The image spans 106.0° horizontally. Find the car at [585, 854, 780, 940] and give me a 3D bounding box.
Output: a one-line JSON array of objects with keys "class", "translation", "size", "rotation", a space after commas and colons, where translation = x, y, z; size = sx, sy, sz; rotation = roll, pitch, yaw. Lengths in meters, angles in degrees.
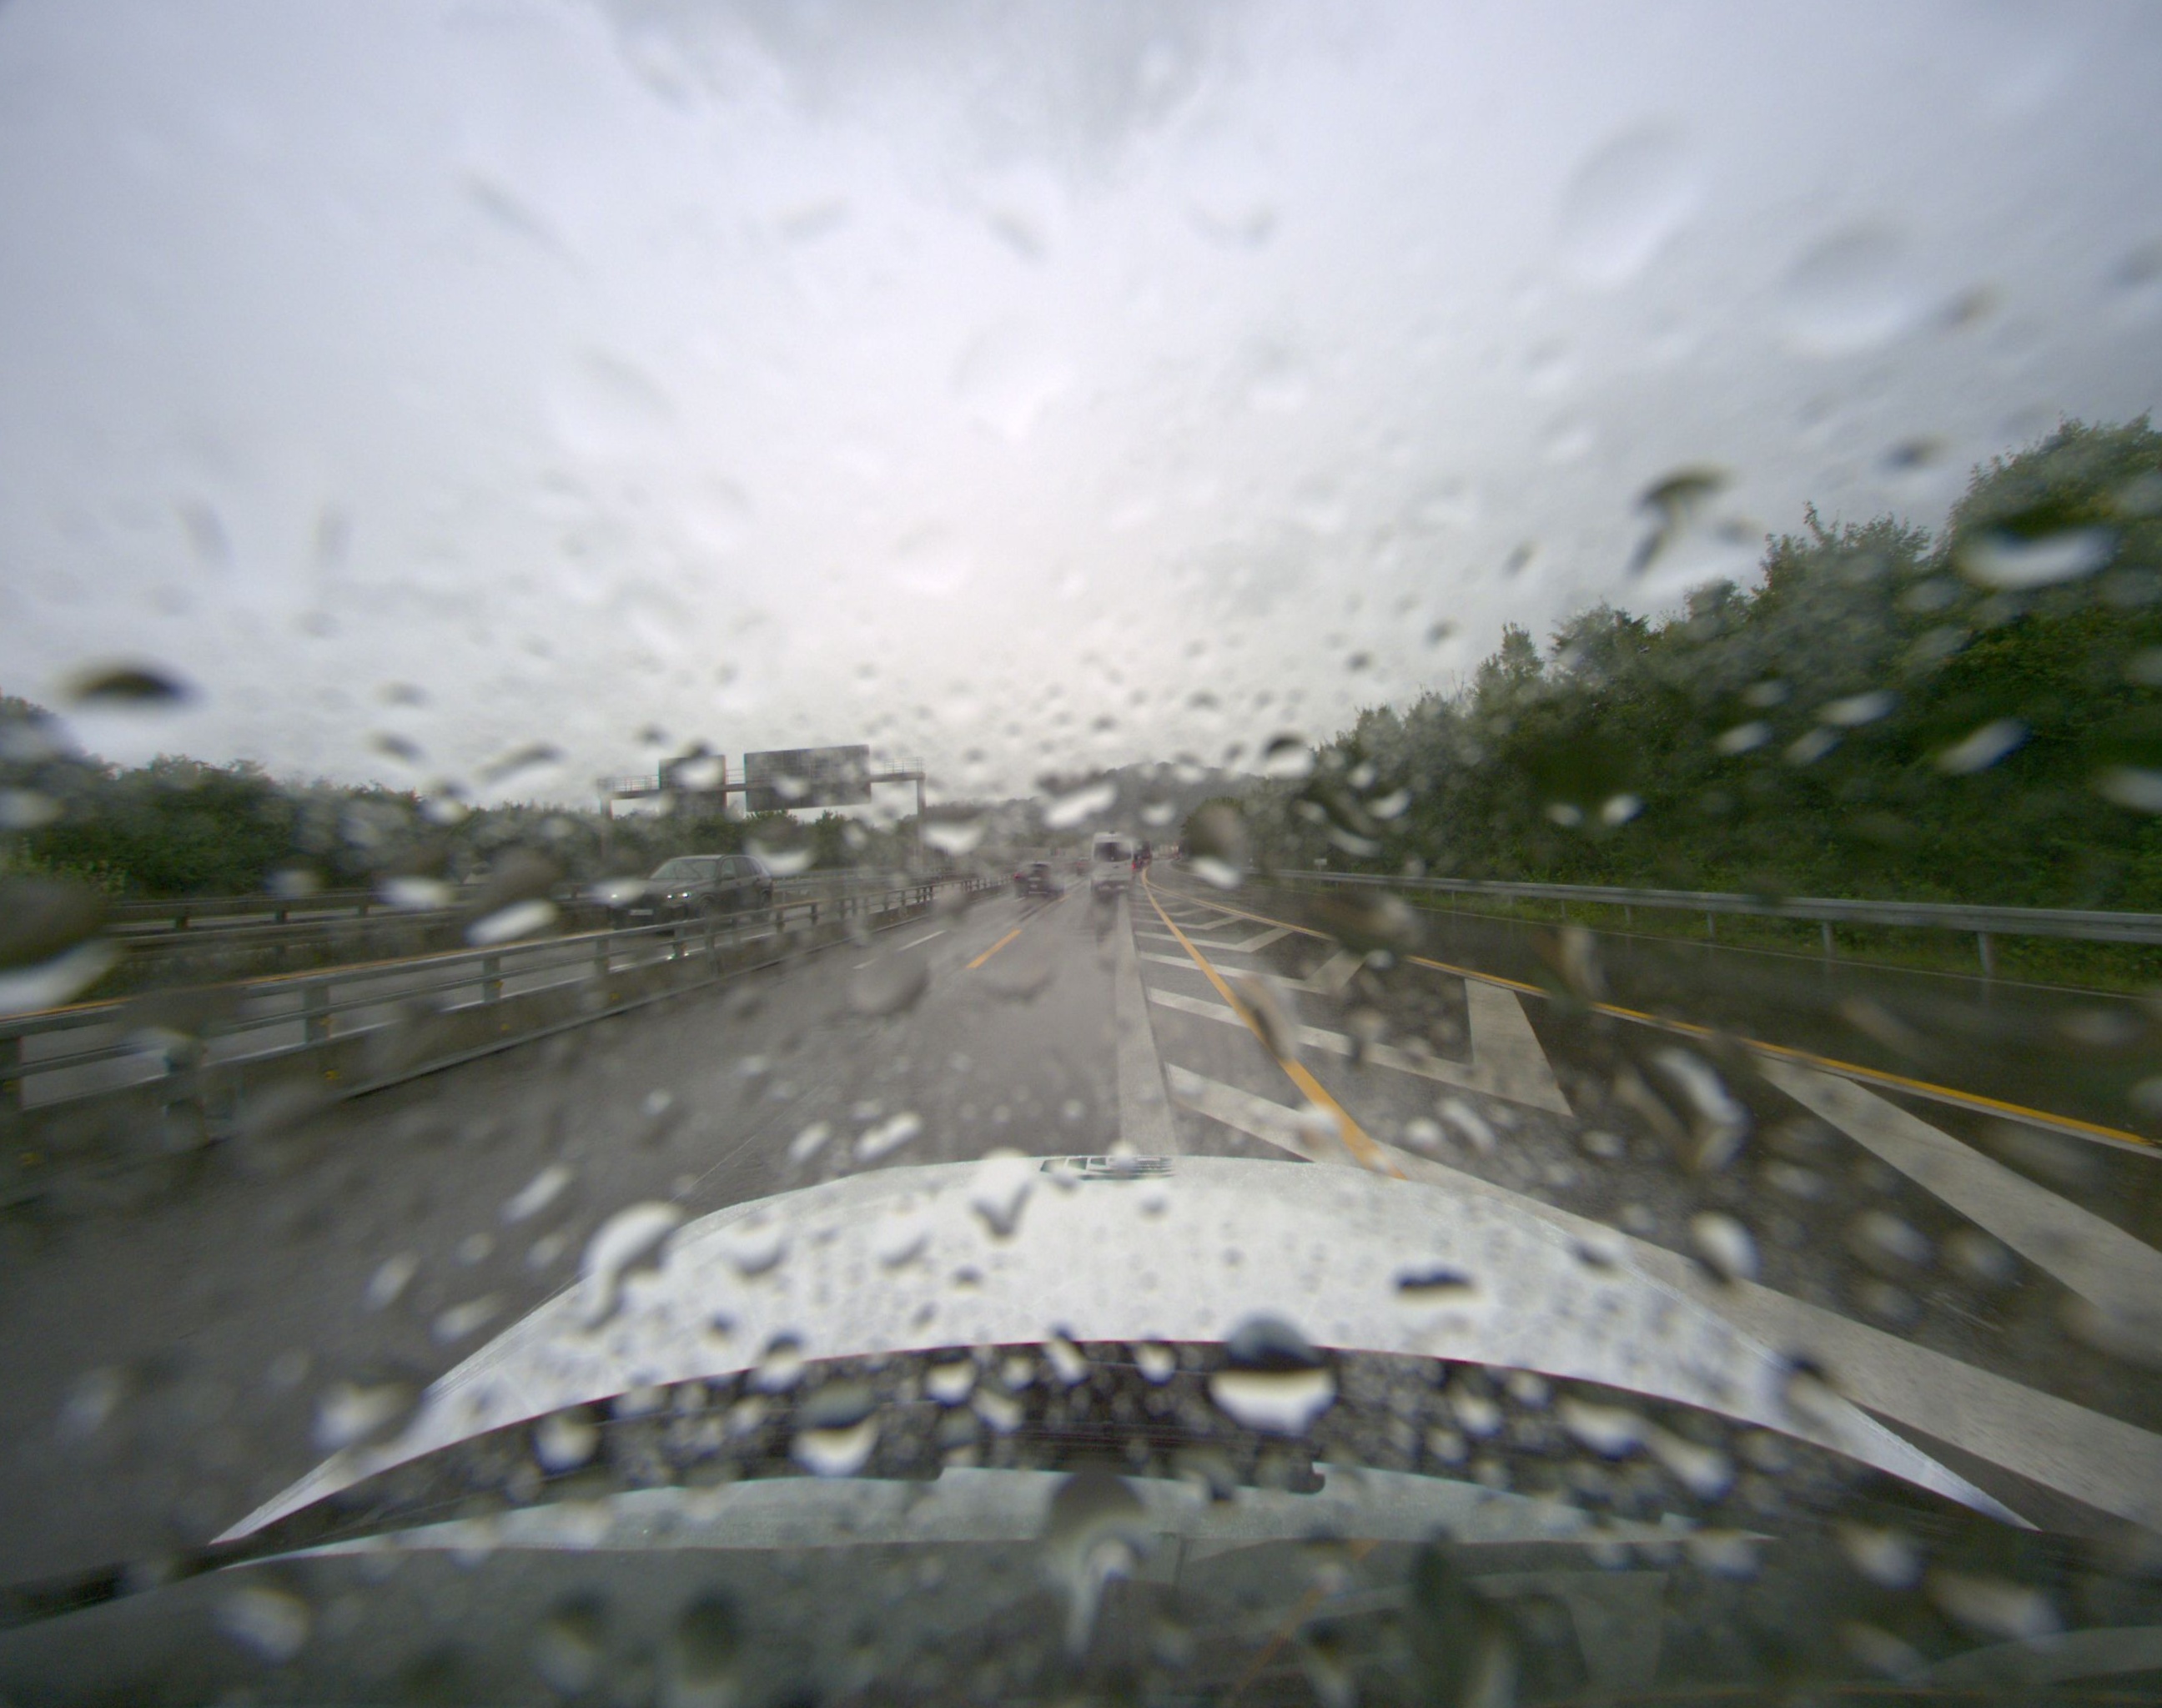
[{"class": "car", "translation": [-9.029, 0.891, 19.068], "size": [1.944, 1.717, 5.104], "rotation": [0, 0, 2]}]

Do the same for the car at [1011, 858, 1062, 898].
[{"class": "car", "translation": [-1.798, 0.951, 34.095], "size": [1.940, 1.561, 3.999], "rotation": [0, 0, 0]}]

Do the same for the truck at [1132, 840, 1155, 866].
[{"class": "truck", "translation": [10.921, -0.164, 141.511], "size": [3.564, 4.406, 9.638], "rotation": [-1, 0, 6]}]

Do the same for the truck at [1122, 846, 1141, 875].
[{"class": "truck", "translation": [5.756, 0.730, 92.161], "size": [1.984, 3.109, 8.507], "rotation": [-1, 0, 4]}]

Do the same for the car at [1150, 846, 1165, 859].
[{"class": "car", "translation": [17.574, -0.227, 187.508], "size": [2.880, 2.887, 6.429], "rotation": [-1, 0, 10]}]

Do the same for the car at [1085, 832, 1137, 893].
[{"class": "car", "translation": [1.384, 0.380, 36.956], "size": [2.136, 2.571, 5.393], "rotation": [0, 0, 2]}]

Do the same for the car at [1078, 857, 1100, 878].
[{"class": "car", "translation": [0.687, 1.111, 68.325], "size": [1.700, 1.627, 4.003], "rotation": [-1, 0, 3]}]

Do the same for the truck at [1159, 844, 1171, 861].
[{"class": "truck", "translation": [23.385, -0.396, 227.383], "size": [3.019, 4.406, 9.644], "rotation": [-1, 0, 8]}]
